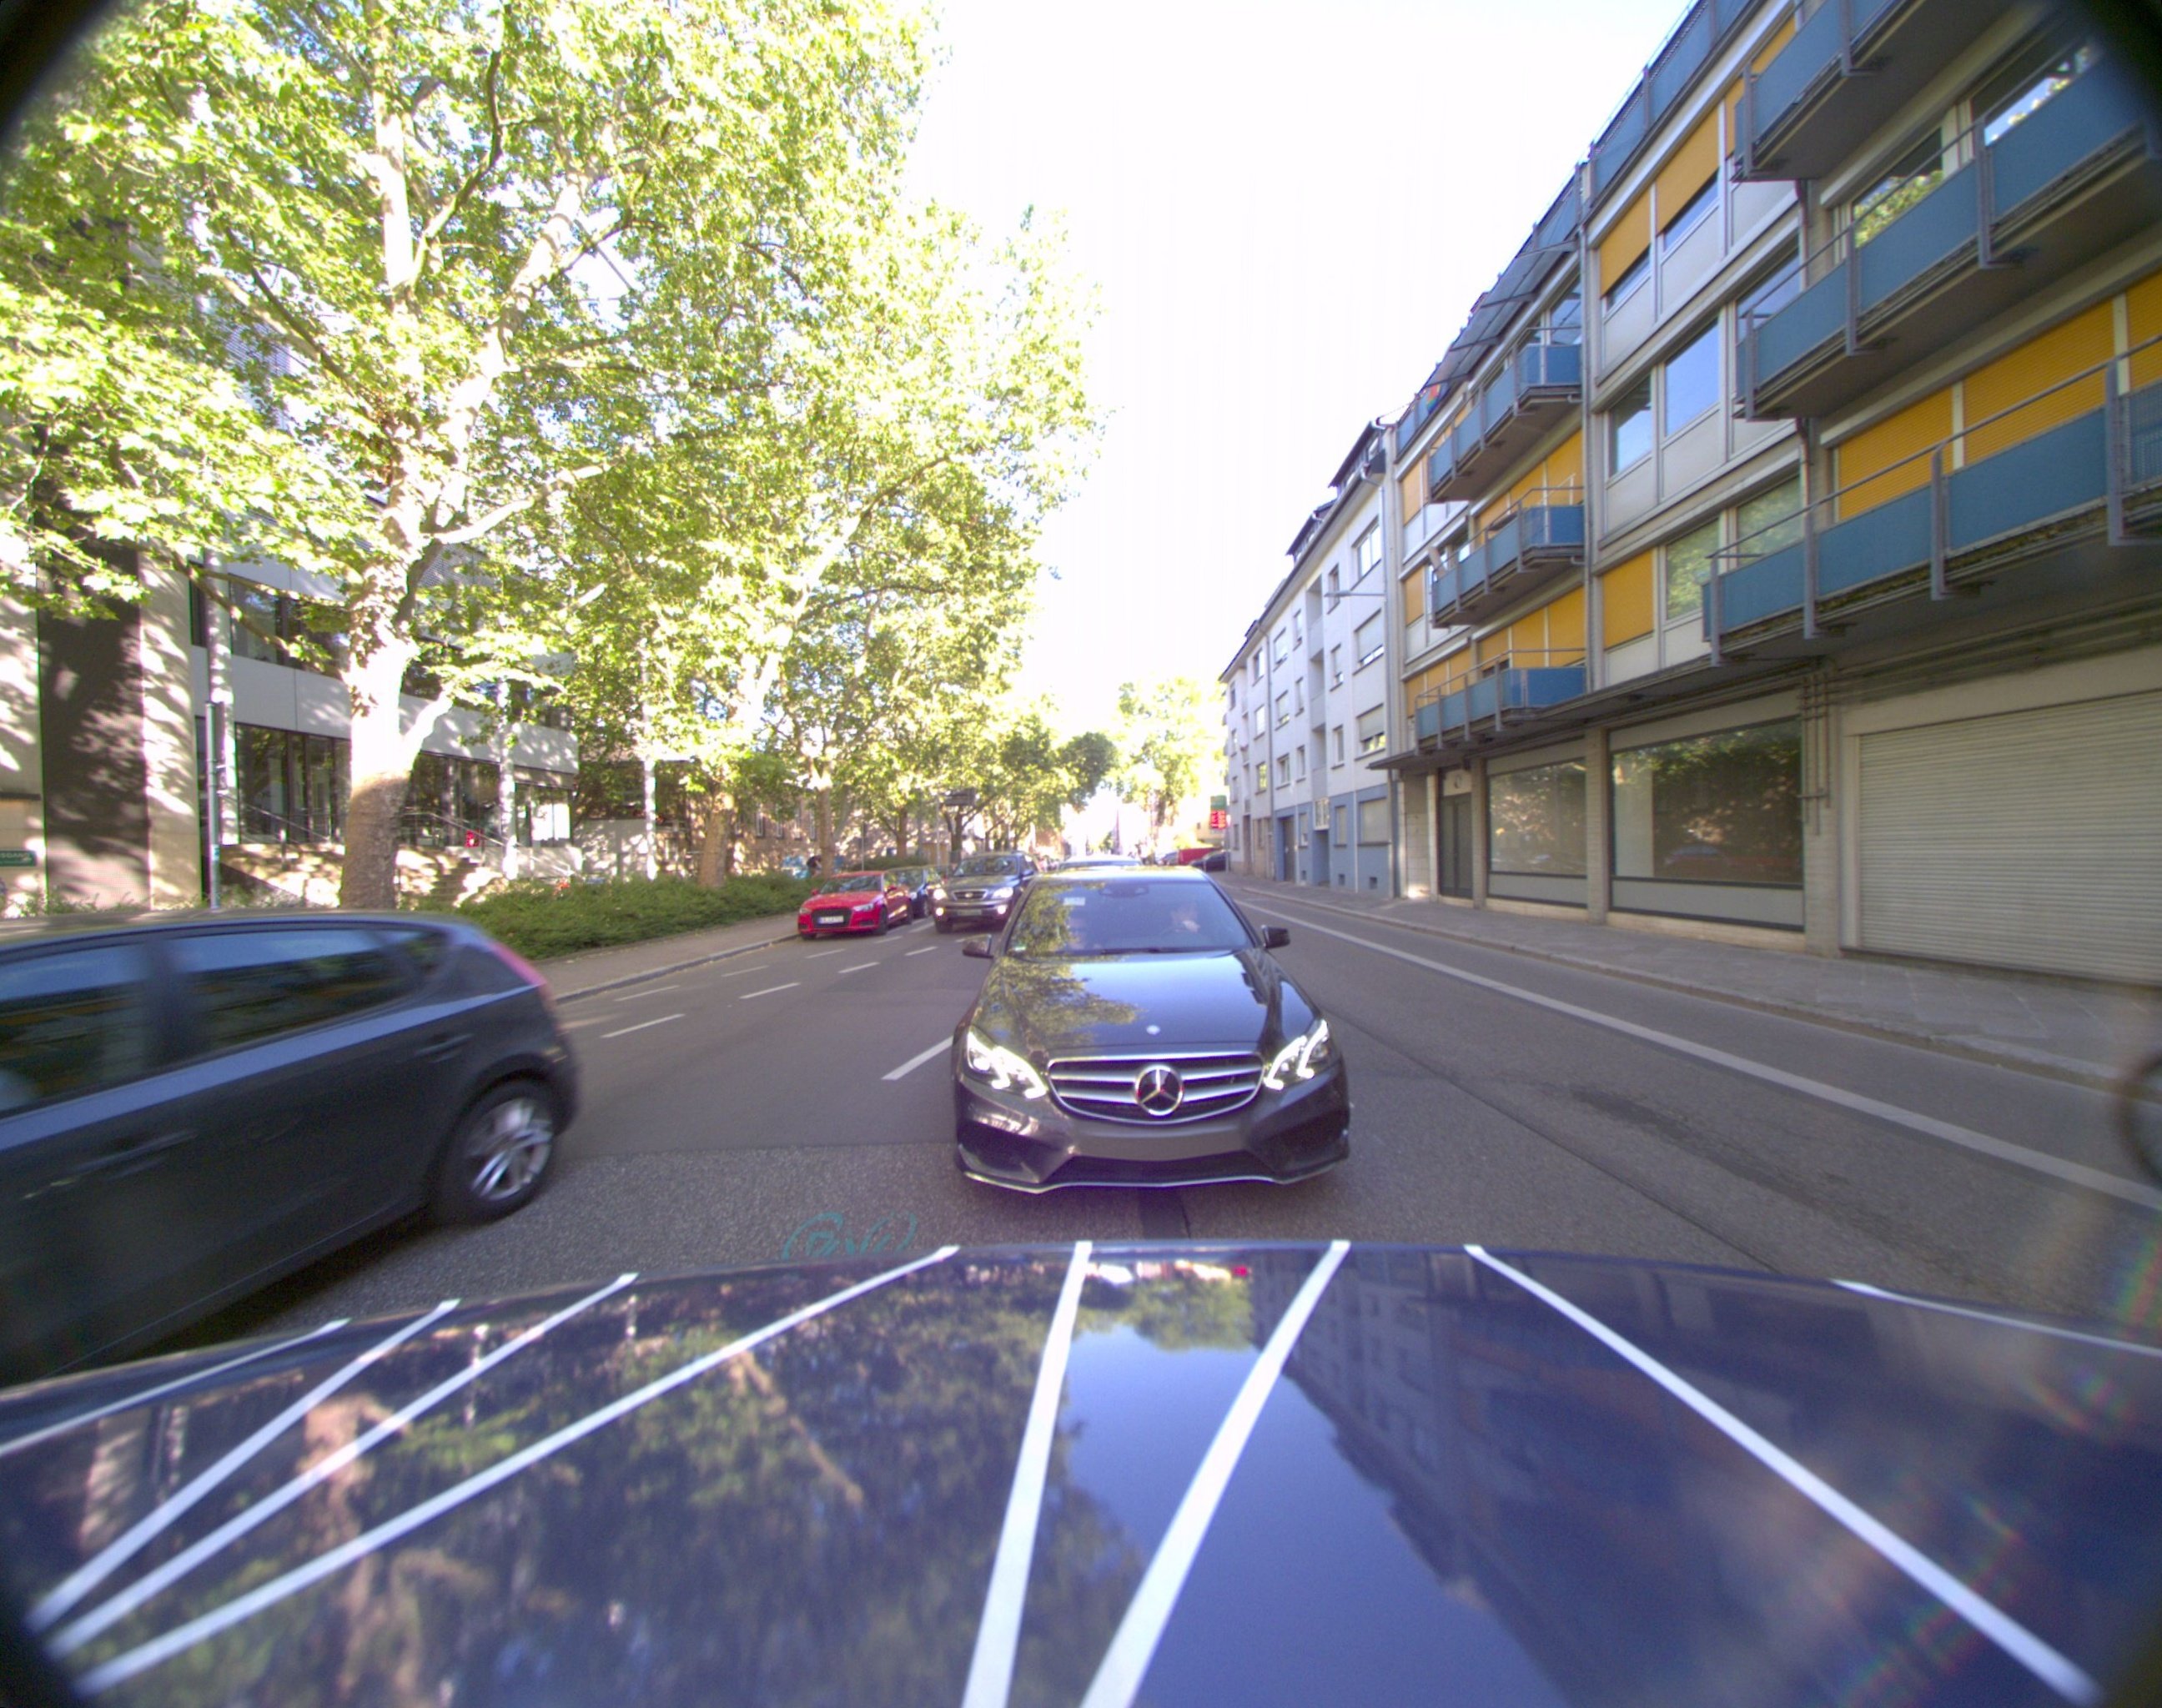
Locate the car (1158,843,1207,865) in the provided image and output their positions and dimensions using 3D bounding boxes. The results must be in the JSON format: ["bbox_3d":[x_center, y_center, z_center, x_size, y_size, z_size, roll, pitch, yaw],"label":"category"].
[{"bbox_3d":[11.031,-0.011,82.824,4.991,2.181,2.000,-2,1,1],"label":"car"}]

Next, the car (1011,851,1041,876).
[{"bbox_3d":[-4.284,0.720,59.850,1.992,1.795,4.376,-2,0,0],"label":"car"}]

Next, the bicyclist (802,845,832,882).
[{"bbox_3d":[-11.679,0.408,33.620,1.037,1.610,0.698,-2,1,0],"label":"bicyclist"}]

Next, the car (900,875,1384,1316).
[{"bbox_3d":[0.223,0.946,4.731,1.740,1.448,3.864,-2,0,0],"label":"car"}]

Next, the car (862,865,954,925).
[{"bbox_3d":[-5.034,1.135,22.650,1.741,1.444,4.091,-4,0,0],"label":"car"}]

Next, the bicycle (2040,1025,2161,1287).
[{"bbox_3d":[4.476,1.206,2.363,0.695,0.924,1.863,-2,0,4],"label":"bicycle"}]

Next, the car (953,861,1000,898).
[{"bbox_3d":[-5.077,1.190,37.490,1.741,1.622,4.091,-2,0,0],"label":"car"}]

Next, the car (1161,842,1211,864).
[{"bbox_3d":[11.027,-0.104,80.193,4.991,2.181,2.000,-2,1,1],"label":"car"}]

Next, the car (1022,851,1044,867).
[{"bbox_3d":[-4.390,0.436,70.447,1.741,1.469,4.091,-2,0,0],"label":"car"}]

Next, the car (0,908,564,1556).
[{"bbox_3d":[-3.546,1.039,1.799,1.647,1.473,3.977,-2,0,5],"label":"car"}]

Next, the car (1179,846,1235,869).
[{"bbox_3d":[10.132,0.267,61.294,4.146,1.681,2.000,-2,0,1],"label":"car"}]

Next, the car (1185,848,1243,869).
[{"bbox_3d":[10.309,0.322,58.963,4.146,1.486,2.000,-2,0,1],"label":"car"}]

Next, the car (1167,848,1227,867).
[{"bbox_3d":[10.155,0.282,66.704,4.990,1.486,2.000,-2,0,1],"label":"car"}]

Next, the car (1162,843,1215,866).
[{"bbox_3d":[10.907,0.023,77.341,4.991,2.181,2.000,-2,1,1],"label":"car"}]

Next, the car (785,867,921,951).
[{"bbox_3d":[-5.117,1.169,17.657,1.830,1.519,4.142,-4,0,0],"label":"car"}]

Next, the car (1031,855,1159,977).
[{"bbox_3d":[0.218,0.846,12.628,1.646,1.520,4.619,-4,0,1],"label":"car"}]

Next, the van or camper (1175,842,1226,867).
[{"bbox_3d":[10.053,0.021,64.201,3.997,2.002,2.000,-2,1,0],"label":"van or camper"}]

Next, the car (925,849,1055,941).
[{"bbox_3d":[-1.937,0.837,17.667,1.784,1.760,4.387,-3,0,9],"label":"car"}]

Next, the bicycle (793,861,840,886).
[{"bbox_3d":[-11.689,0.851,33.625,1.798,1.009,0.734,-2,1,1],"label":"bicycle"}]

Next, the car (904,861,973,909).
[{"bbox_3d":[-5.134,1.061,27.841,1.681,1.484,3.918,-4,0,0],"label":"car"}]
